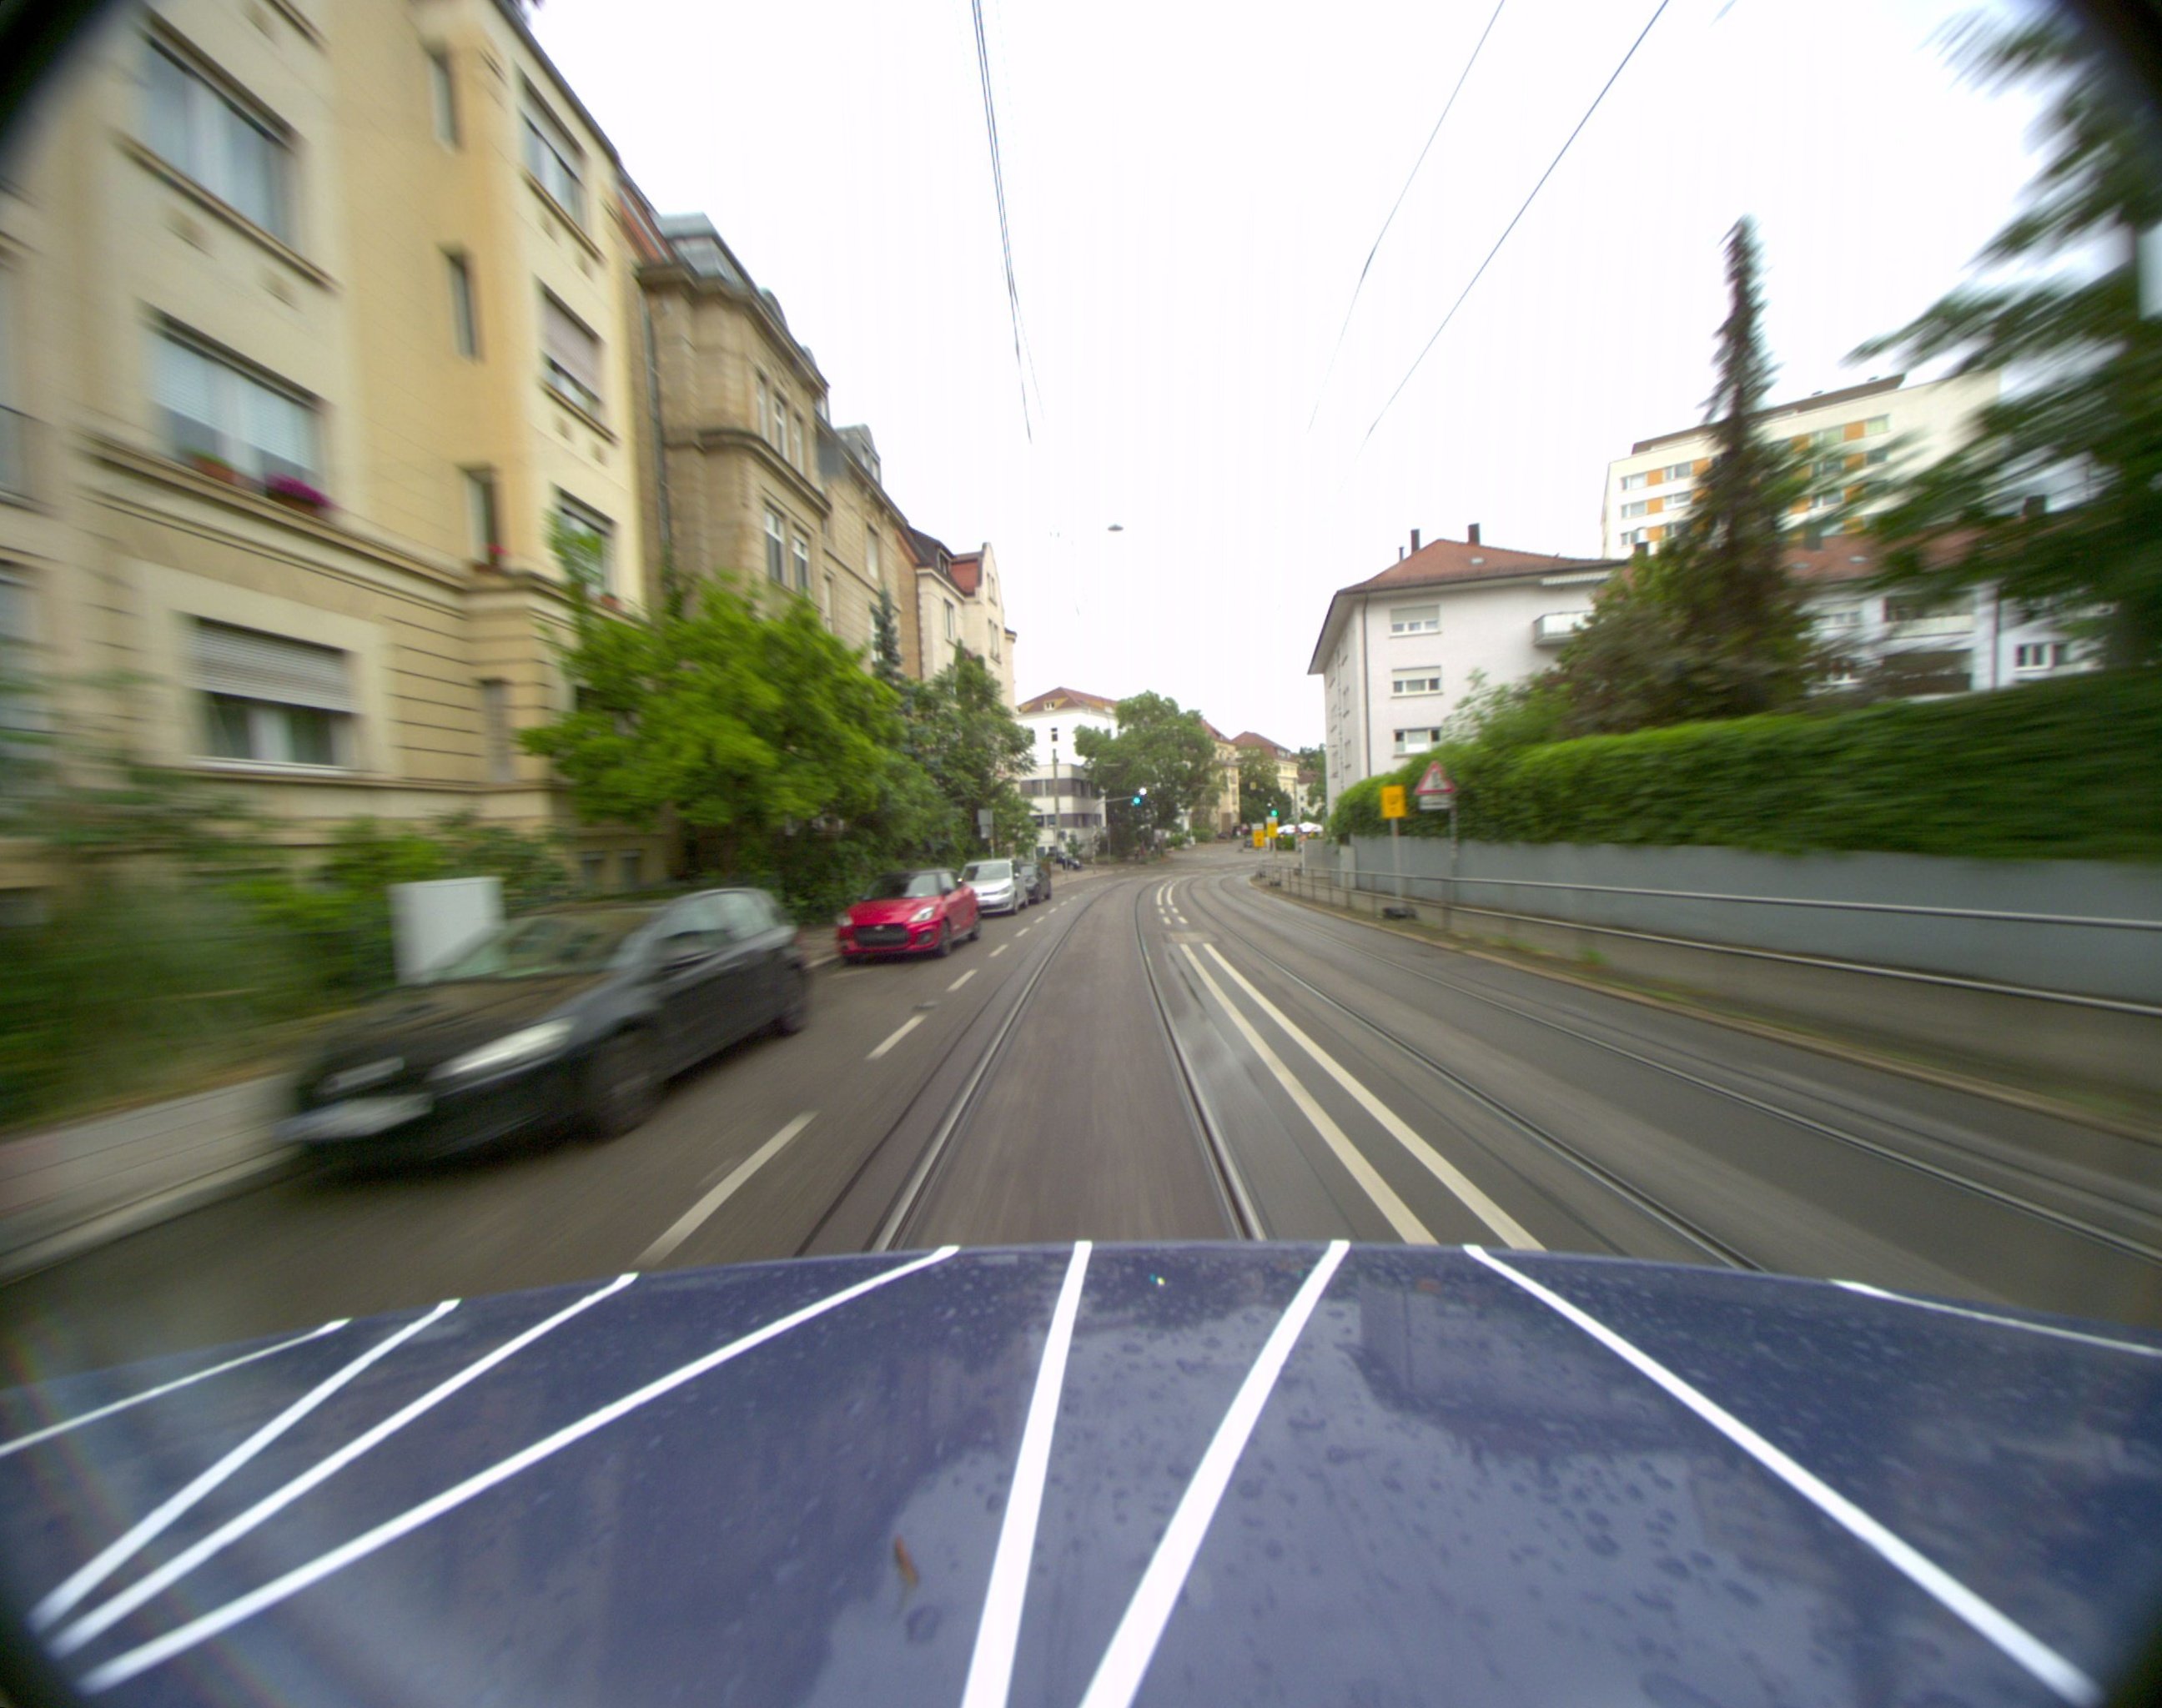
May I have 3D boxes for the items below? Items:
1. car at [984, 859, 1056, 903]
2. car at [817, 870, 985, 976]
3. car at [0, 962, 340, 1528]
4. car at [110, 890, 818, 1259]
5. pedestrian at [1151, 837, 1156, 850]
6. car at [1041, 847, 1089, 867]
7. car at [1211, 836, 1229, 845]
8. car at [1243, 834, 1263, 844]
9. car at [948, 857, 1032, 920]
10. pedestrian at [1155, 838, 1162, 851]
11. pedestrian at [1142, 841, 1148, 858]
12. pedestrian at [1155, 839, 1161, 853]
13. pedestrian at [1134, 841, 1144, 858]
[{"bbox_3d":[-2.105,0.935,27.364,1.769,1.382,4.003,-3,-1,6],"label":"car"},{"bbox_3d":[-2.972,1.084,13.438,1.725,1.428,3.842,-3,0,4],"label":"car"},{"bbox_3d":[-3.801,1.193,0.898,1.560,1.428,4.303,-3,0,0],"label":"car"},{"bbox_3d":[-3.558,1.120,5.540,1.687,1.428,4.064,-3,0,2],"label":"car"},{"bbox_3d":[8.526,-1.249,89.130,0.386,1.498,0.537,-3,4,-39],"label":"pedestrian"},{"bbox_3d":[-1.329,0.216,64.283,3.663,1.500,1.739,2,3,16],"label":"car"},{"bbox_3d":[22.858,-2.278,124.695,1.596,1.333,3.642,-1,-1,32],"label":"car"},{"bbox_3d":[24.106,-2.130,106.622,1.689,1.434,3.810,1,2,29],"label":"car"},{"bbox_3d":[-2.551,0.933,22.361,1.770,1.594,4.288,-2,1,2],"label":"car"},{"bbox_3d":[9.188,-1.130,89.549,0.547,1.556,0.600,0,-1,-42],"label":"pedestrian"},{"bbox_3d":[7.267,-0.552,86.373,0.542,1.913,0.917,0,3,12],"label":"pedestrian"},{"bbox_3d":[9.268,-0.995,92.018,0.544,1.620,0.603,-1,0,24],"label":"pedestrian"},{"bbox_3d":[6.011,-0.424,78.458,0.743,1.690,0.674,3,1,19],"label":"pedestrian"}]
